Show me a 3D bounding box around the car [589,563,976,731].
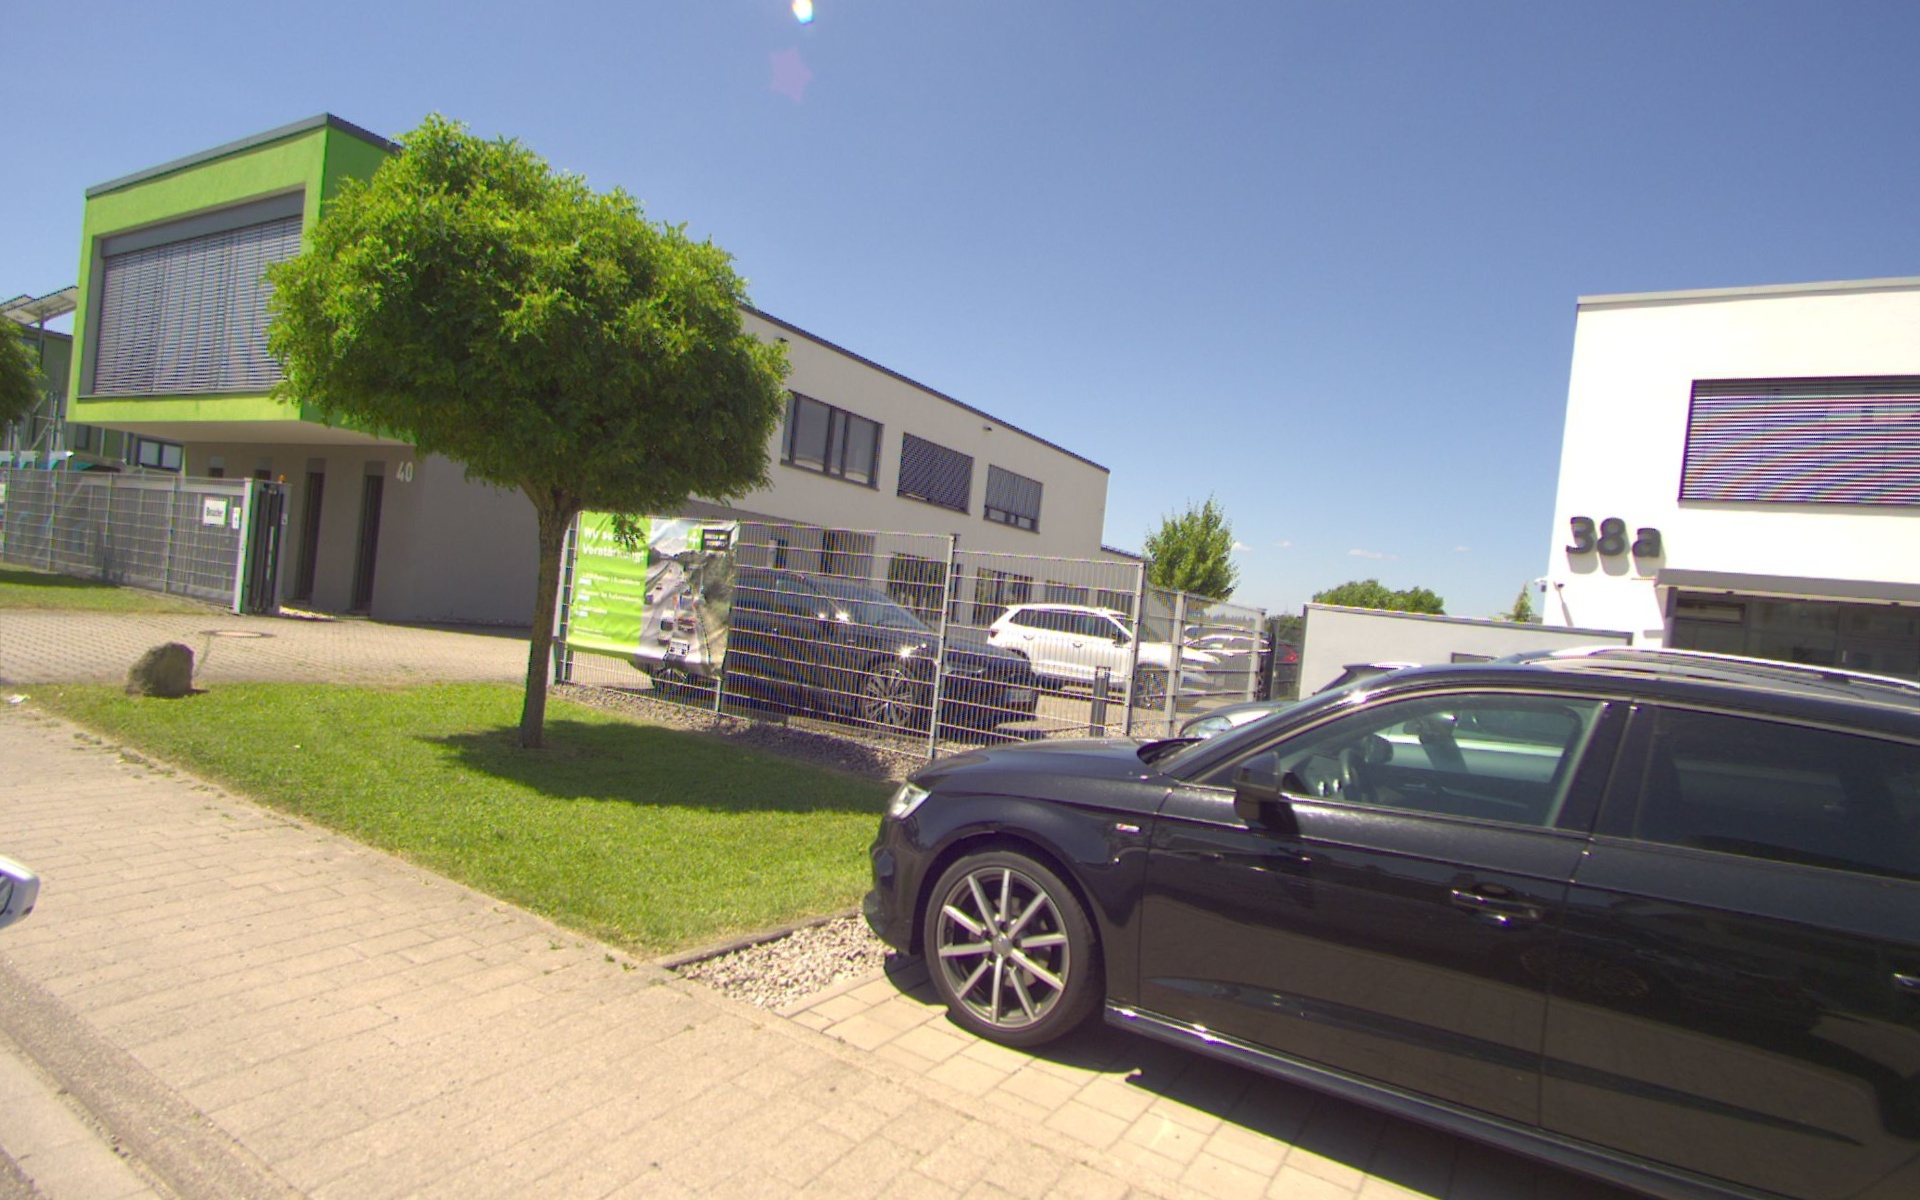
[{"bbox_3d":[-2.016,0.462,11.124,3.988,1.415,1.740,4,-1,31],"label":"car"}]

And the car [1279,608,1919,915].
[{"bbox_3d":[4.689,1.040,7.563,3.956,1.467,1.725,6,-1,32],"label":"car"}]

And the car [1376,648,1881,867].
[{"bbox_3d":[6.648,1.487,10.480,3.956,1.453,1.725,6,-1,32],"label":"car"}]

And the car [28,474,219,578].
[{"bbox_3d":[-24.504,-2.206,29.353,6.909,2.527,2.130,6,2,32],"label":"car"}]

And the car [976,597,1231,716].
[{"bbox_3d":[2.494,0.951,17.692,3.988,1.656,1.740,4,-1,31],"label":"car"}]

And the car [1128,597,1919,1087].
[{"bbox_3d":[3.167,1.057,5.452,3.956,1.652,1.725,6,-1,32],"label":"car"}]

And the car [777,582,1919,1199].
[{"bbox_3d":[1.615,0.913,3.269,4.176,1.445,1.695,6,-1,32],"label":"car"}]

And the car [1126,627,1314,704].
[{"bbox_3d":[6.220,1.543,24.169,3.988,1.447,1.740,4,-1,31],"label":"car"}]
